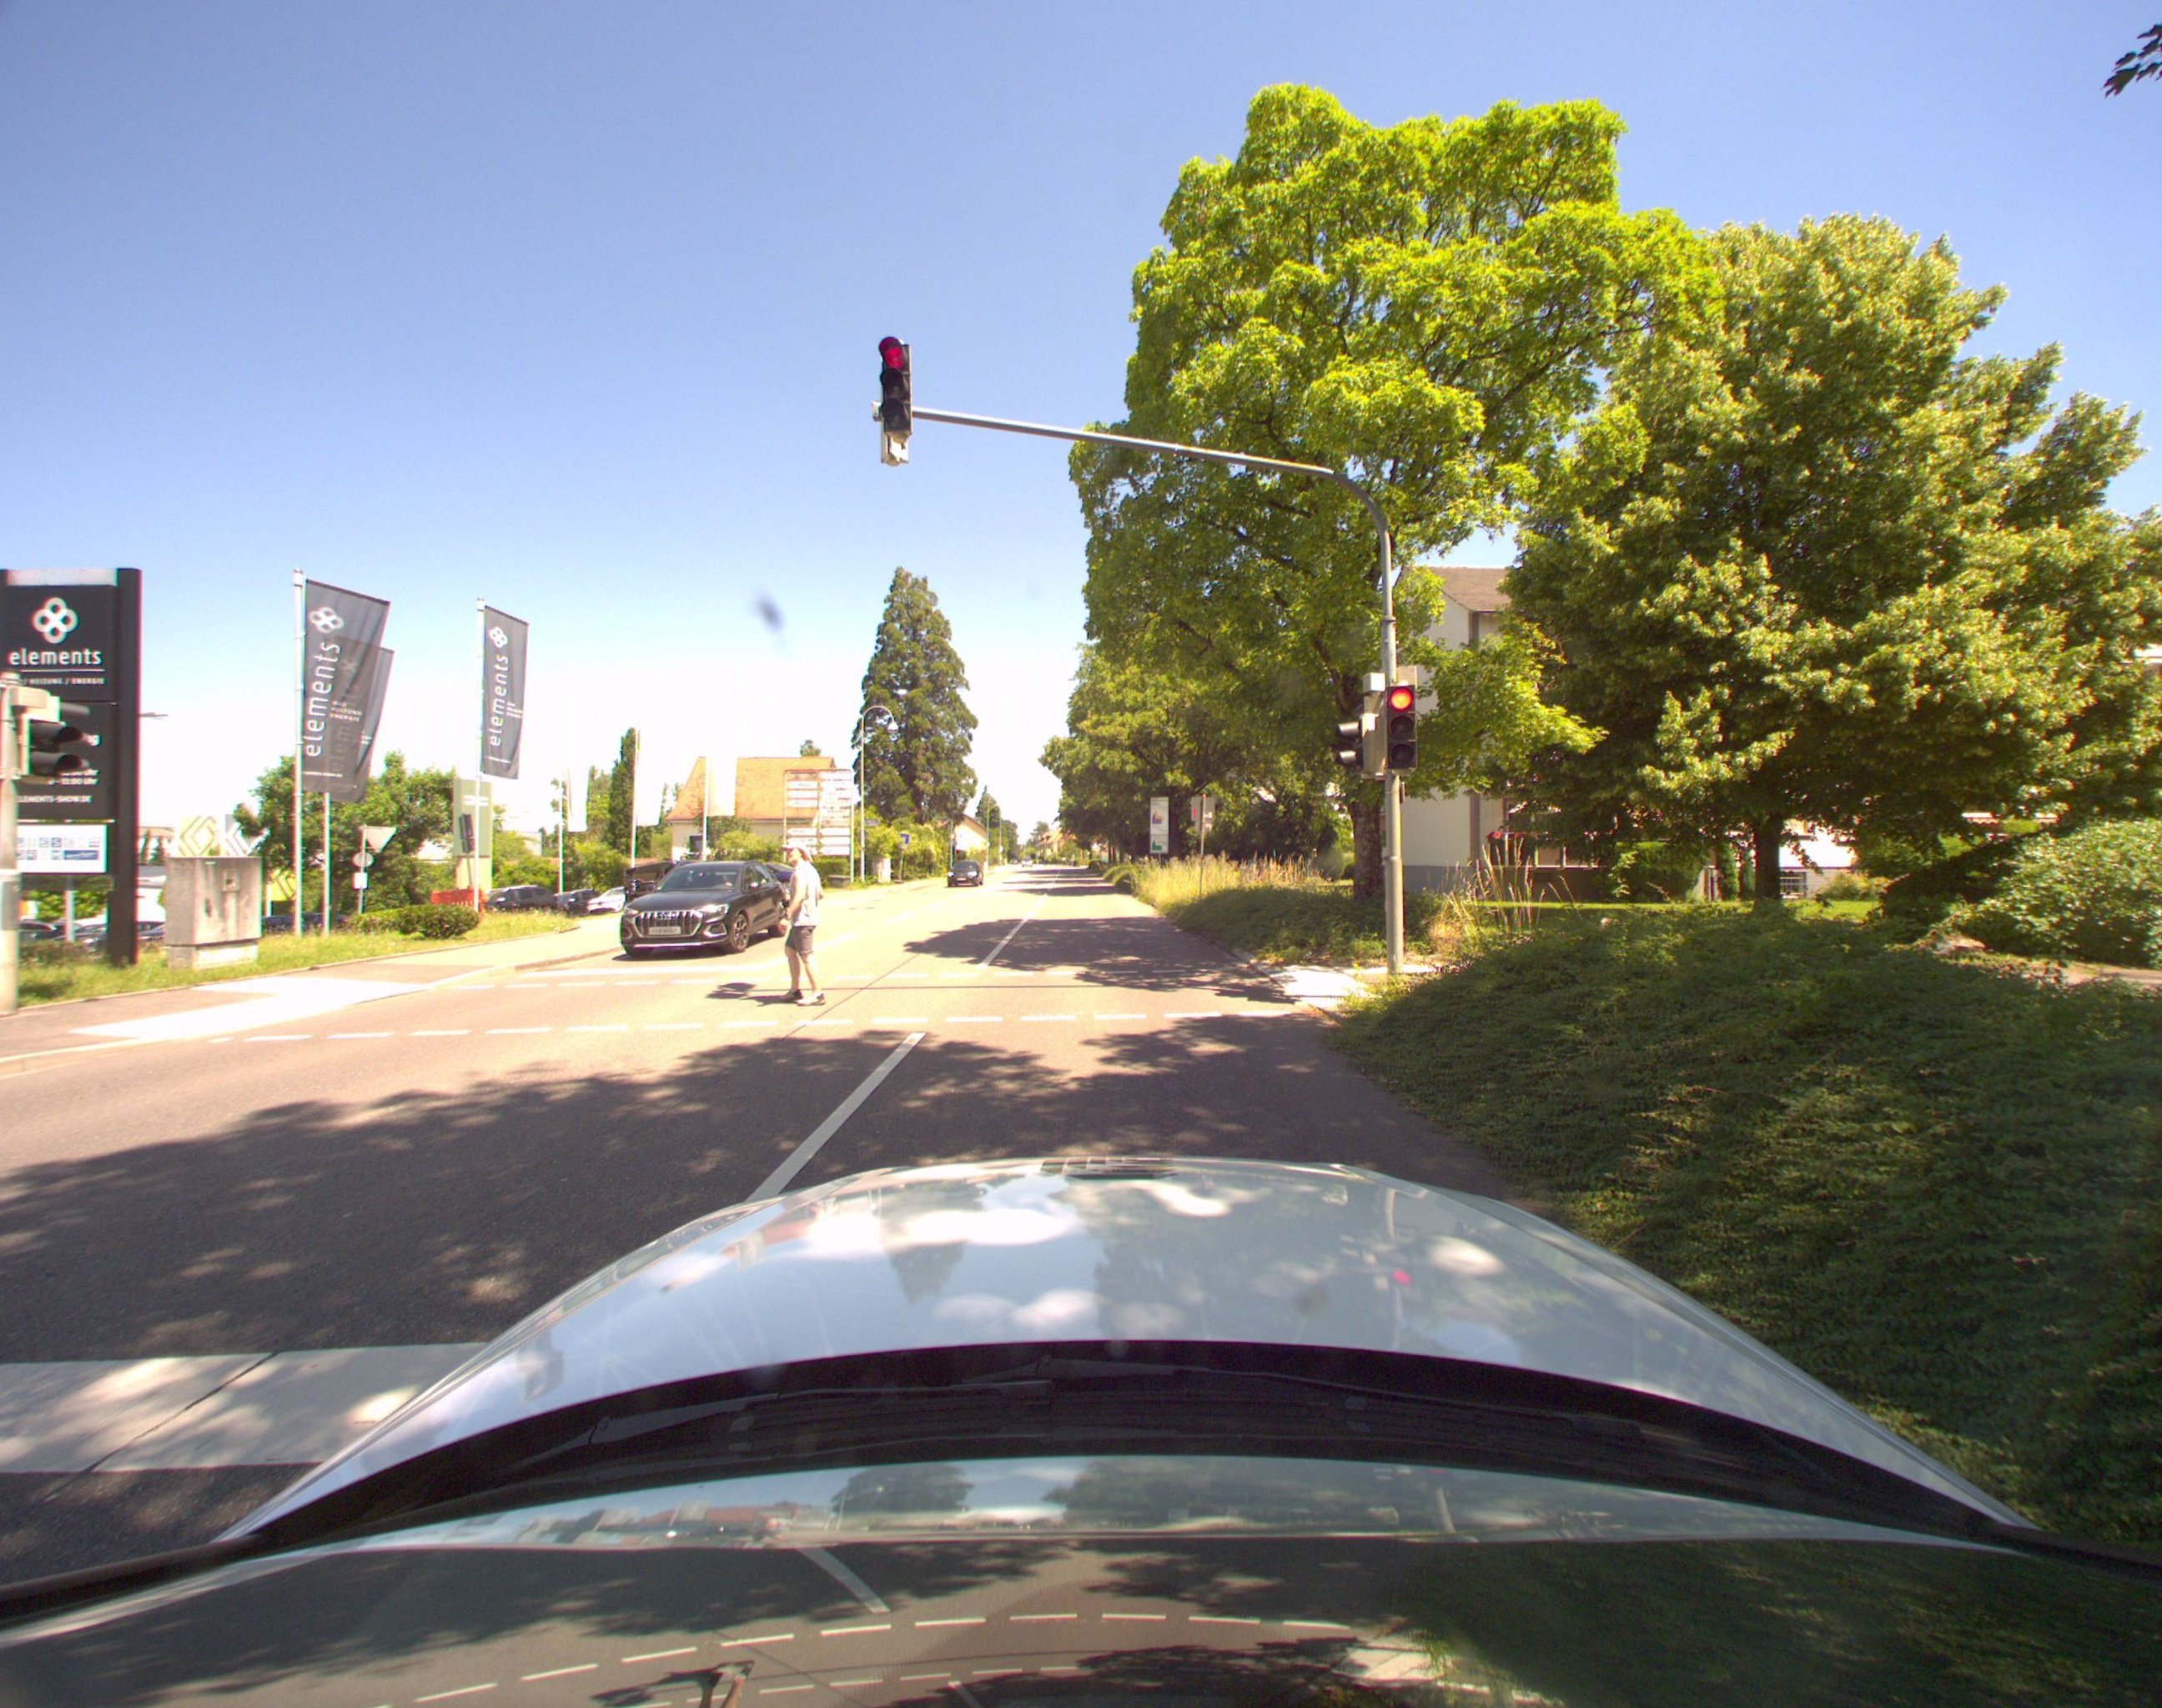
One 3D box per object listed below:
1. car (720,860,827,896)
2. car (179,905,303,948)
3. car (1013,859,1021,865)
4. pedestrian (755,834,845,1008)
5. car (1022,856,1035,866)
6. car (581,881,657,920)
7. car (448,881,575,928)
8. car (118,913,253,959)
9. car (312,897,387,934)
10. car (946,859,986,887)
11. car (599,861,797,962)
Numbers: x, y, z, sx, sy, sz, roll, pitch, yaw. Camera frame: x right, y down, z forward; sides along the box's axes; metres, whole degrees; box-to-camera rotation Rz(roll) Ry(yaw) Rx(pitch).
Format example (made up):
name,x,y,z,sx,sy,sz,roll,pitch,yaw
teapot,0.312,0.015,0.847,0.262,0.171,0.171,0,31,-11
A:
name,x,y,z,sx,sy,sz,roll,pitch,yaw
car,-13.775,1.068,36.606,4.109,1.504,1.782,-1,0,10
car,-34.458,2.932,33.568,1.648,1.415,3.852,-1,0,-11
car,-17.956,2.234,228.772,1.817,1.552,3.997,-1,0,-2
pedestrian,-2.994,0.684,8.717,0.538,1.761,0.706,-1,-1,28
car,-9.447,1.300,146.603,1.804,1.762,4.571,1,0,1
car,-23.249,2.290,41.169,1.806,1.722,4.081,0,0,-6
car,-23.666,2.067,34.034,1.795,1.722,4.106,-2,-1,16
car,-37.005,3.347,33.815,1.754,1.486,3.983,-1,0,-12
car,-40.528,3.360,45.237,1.816,1.722,4.059,0,0,-22
car,-6.675,1.063,47.441,1.864,1.507,4.049,-1,0,-2
car,-6.873,0.926,15.178,1.923,1.555,4.295,-1,0,-5
